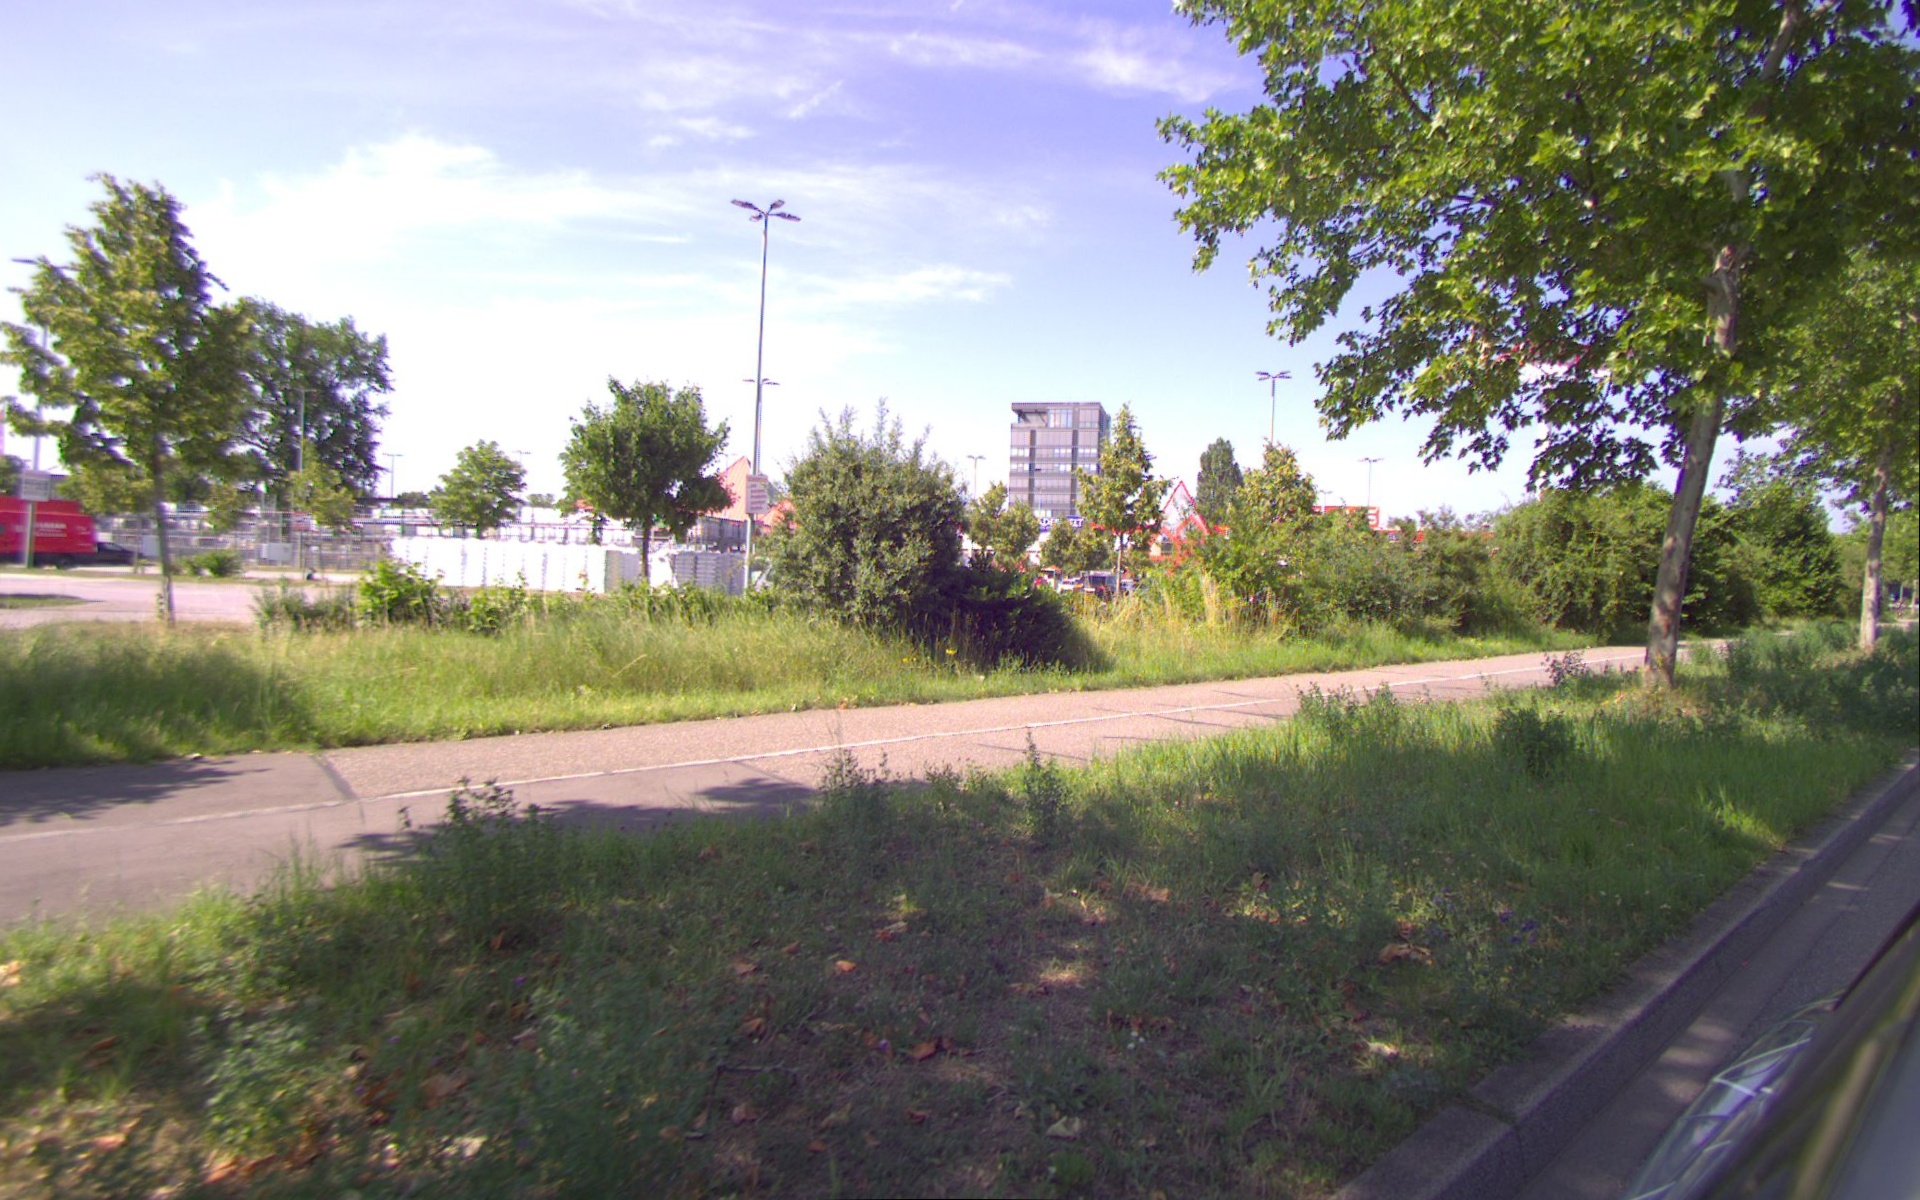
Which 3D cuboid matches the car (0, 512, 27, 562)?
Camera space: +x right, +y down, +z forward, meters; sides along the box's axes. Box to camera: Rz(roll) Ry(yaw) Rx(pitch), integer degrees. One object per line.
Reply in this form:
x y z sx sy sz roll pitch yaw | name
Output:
-46.592 -2.957 46.051 1.854 2.336 6.190 2 2 11 | car

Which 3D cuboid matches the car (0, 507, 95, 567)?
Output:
-42.834 -2.830 45.432 1.970 2.596 6.155 2 1 13 | car
